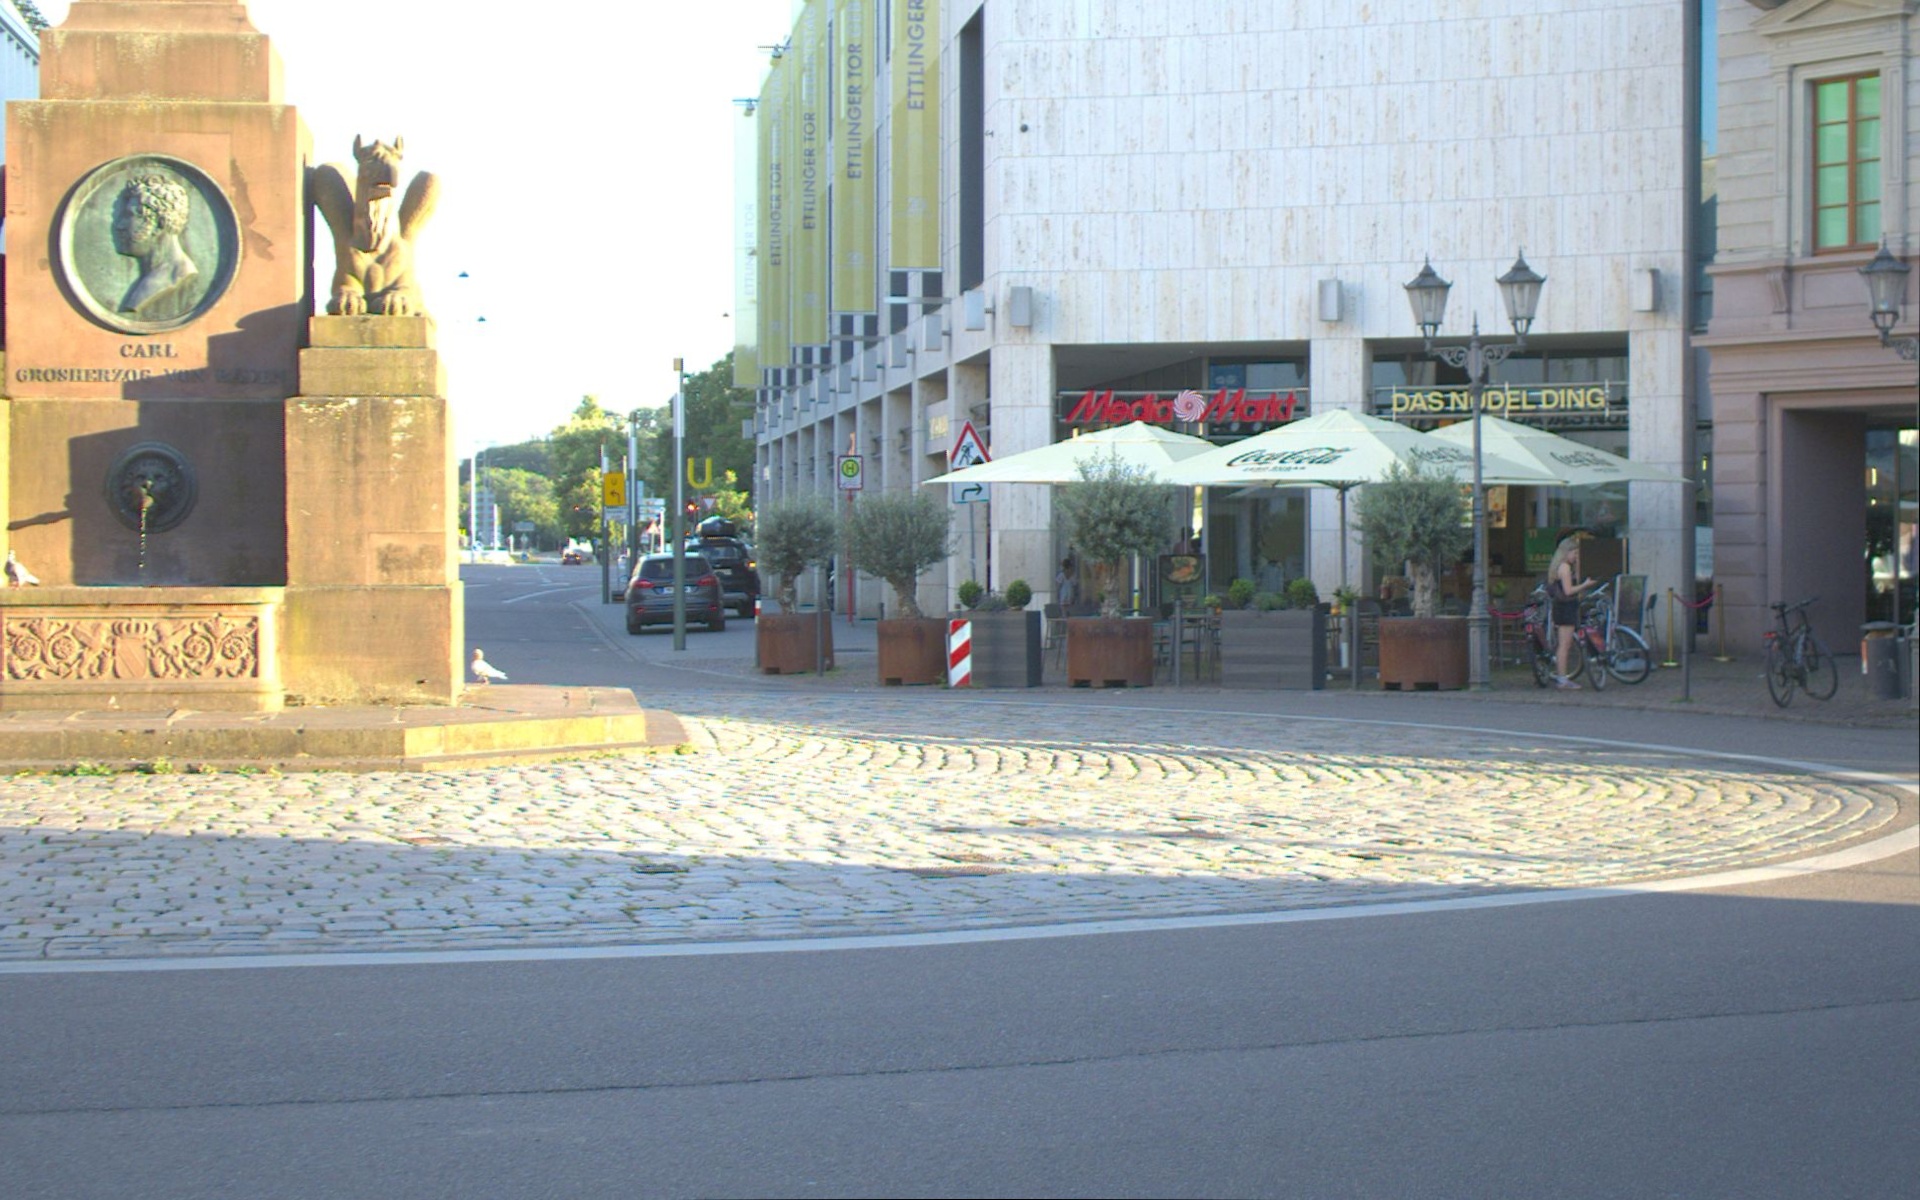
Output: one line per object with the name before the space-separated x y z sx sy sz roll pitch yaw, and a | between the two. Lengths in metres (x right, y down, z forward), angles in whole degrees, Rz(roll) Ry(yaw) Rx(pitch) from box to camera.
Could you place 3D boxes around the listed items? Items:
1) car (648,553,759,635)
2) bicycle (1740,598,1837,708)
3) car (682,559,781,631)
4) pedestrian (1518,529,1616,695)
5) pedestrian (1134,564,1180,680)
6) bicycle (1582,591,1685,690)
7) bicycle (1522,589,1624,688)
car | -4.827 -0.130 64.298 1.993 1.459 4.001 0 1 -5
bicycle | 8.183 0.512 33.934 0.507 1.028 1.643 1 1 29
car | -4.876 -0.127 72.817 1.993 1.459 4.001 0 1 -5
pedestrian | 6.380 0.117 36.173 0.904 1.722 0.850 0 1 2
pedestrian | 2.395 0.267 41.822 0.507 1.393 0.495 0 1 9
bicycle | 7.330 0.429 37.357 0.620 1.028 1.643 1 1 29
bicycle | 6.717 0.409 37.611 0.600 1.028 1.643 1 1 29
